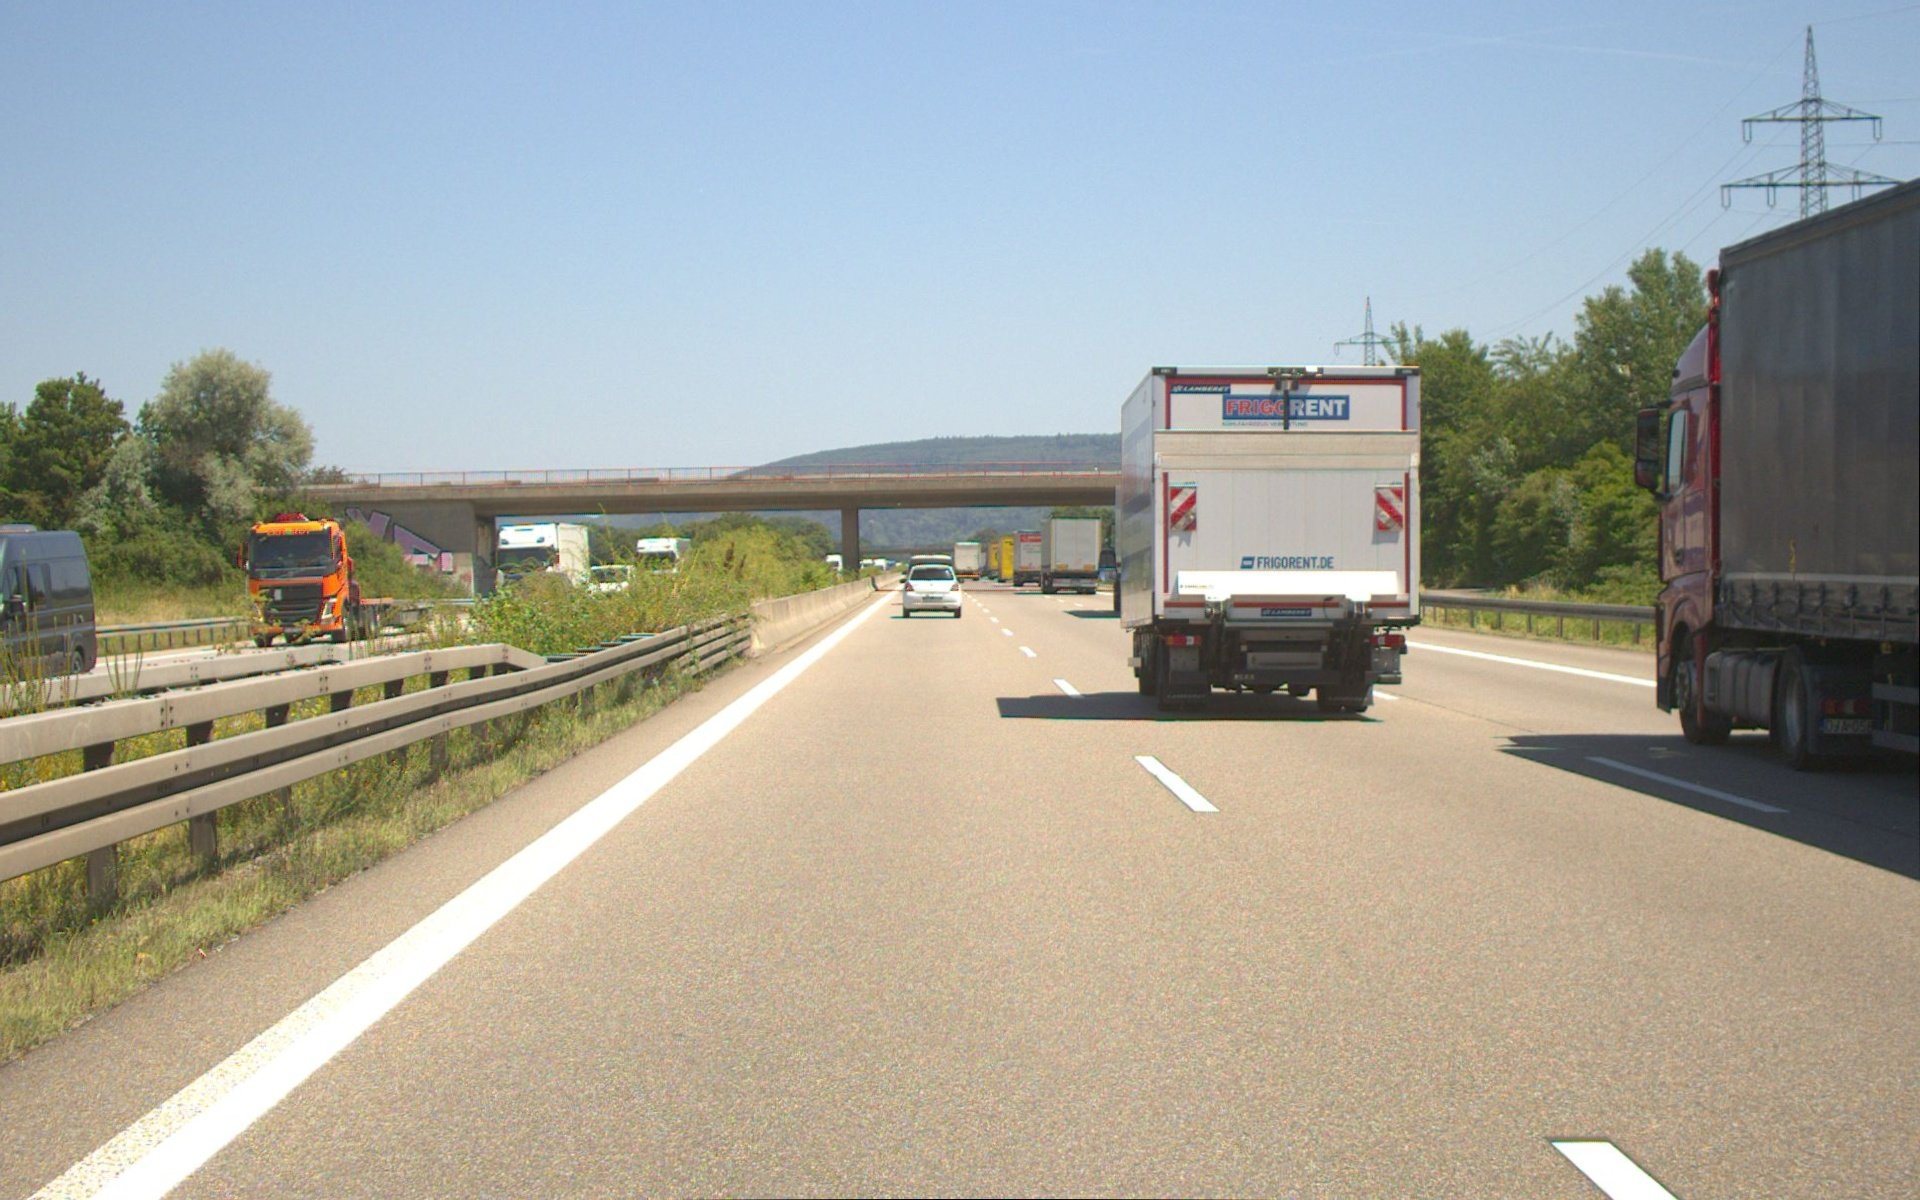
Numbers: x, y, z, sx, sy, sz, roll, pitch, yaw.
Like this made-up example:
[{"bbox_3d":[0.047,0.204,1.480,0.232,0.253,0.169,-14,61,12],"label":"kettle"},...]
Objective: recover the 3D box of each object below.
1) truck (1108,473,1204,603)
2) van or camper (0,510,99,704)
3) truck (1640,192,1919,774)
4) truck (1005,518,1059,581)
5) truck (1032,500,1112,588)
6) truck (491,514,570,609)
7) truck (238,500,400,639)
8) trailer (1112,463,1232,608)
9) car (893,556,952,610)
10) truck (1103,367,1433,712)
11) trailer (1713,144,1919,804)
[{"bbox_3d":[6.391,-2.032,112.835,2.795,4.149,5.723,0,1,0],"label":"truck"},{"bbox_3d":[-13.959,0.117,48.432,2.170,2.579,5.874,-3,1,-1],"label":"van or camper"},{"bbox_3d":[7.387,-0.871,27.380,2.795,4.149,5.723,0,1,0],"label":"truck"},{"bbox_3d":[5.262,-3.700,254.036,3.520,4.401,14.592,-2,1,0],"label":"truck"},{"bbox_3d":[5.883,-2.970,183.218,3.520,4.401,14.592,-2,1,0],"label":"truck"},{"bbox_3d":[-18.741,-1.695,150.363,2.680,4.001,5.756,-2,1,-1],"label":"truck"},{"bbox_3d":[-18.250,-0.894,98.503,2.652,3.649,10.189,-3,1,0],"label":"truck"},{"bbox_3d":[6.391,-1.937,105.684,2.795,4.149,13.956,0,1,0],"label":"trailer"},{"bbox_3d":[-1.067,-0.515,99.323,1.607,1.462,4.000,-1,1,0],"label":"car"},{"bbox_3d":[3.182,-0.628,37.697,2.782,3.361,8.128,0,1,-1],"label":"truck"},{"bbox_3d":[7.447,-0.780,20.542,2.789,4.149,13.575,0,1,-1],"label":"trailer"}]
